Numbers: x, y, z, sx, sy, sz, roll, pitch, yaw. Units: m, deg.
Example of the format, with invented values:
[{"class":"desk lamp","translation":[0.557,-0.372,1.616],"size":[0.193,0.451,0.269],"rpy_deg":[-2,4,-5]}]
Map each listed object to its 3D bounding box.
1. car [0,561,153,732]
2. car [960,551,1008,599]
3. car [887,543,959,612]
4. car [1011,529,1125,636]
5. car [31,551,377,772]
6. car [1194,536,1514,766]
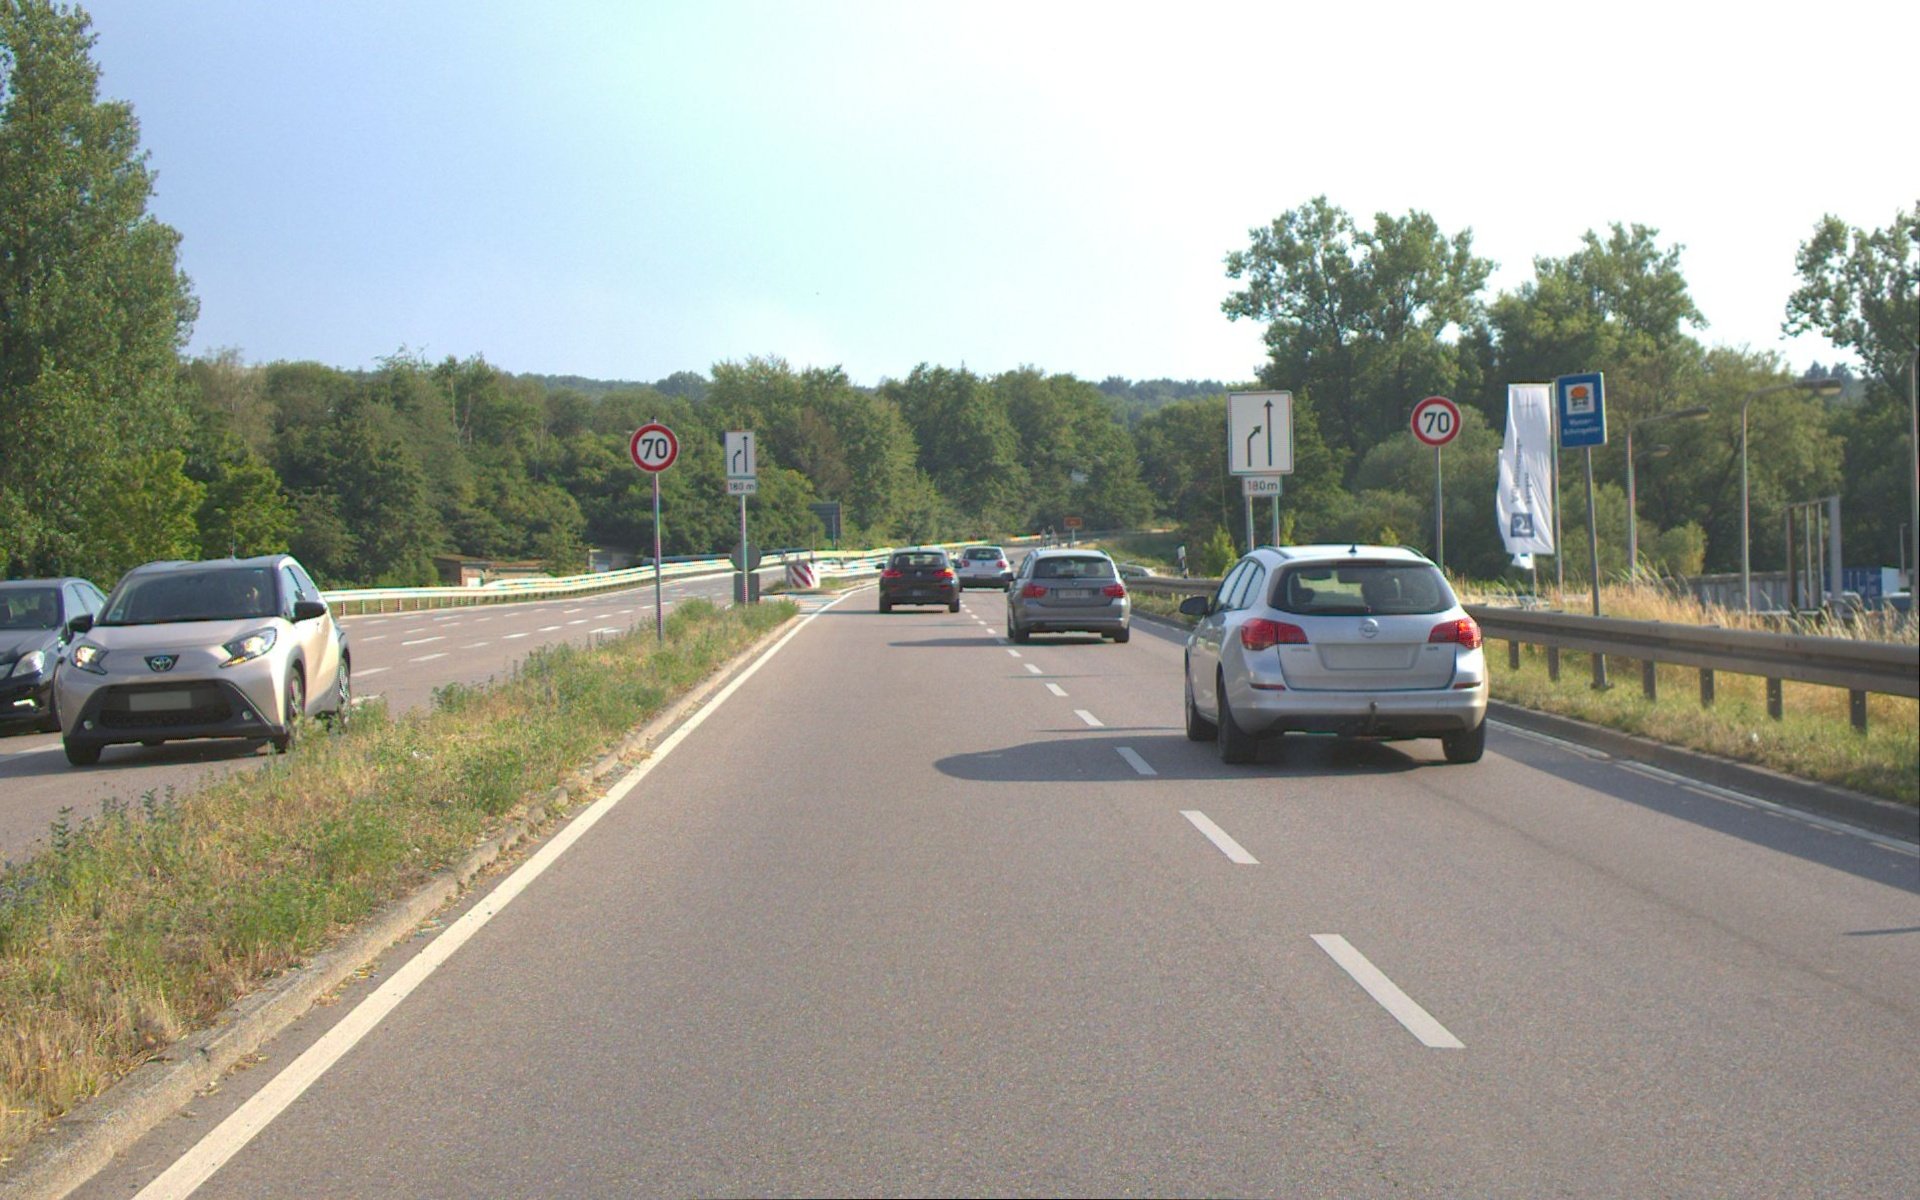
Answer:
[{"class":"car","translation":[-9.127,0.424,32.823],"size":[1.715,1.459,4.727],"rpy_deg":[-3,1,-1]},{"class":"car","translation":[0.768,-0.782,109.049],"size":[1.492,1.471,3.358],"rpy_deg":[0,0,1]},{"class":"car","translation":[-0.803,-0.484,76.200],"size":[1.492,1.471,3.358],"rpy_deg":[0,0,1]},{"class":"car","translation":[1.635,-0.256,52.915],"size":[1.667,1.568,4.000],"rpy_deg":[1,0,1]},{"class":"car","translation":[-5.809,0.446,26.869],"size":[1.780,1.515,4.000],"rpy_deg":[-3,0,0]},{"class":"car","translation":[2.691,0.331,24.310],"size":[1.809,1.481,4.000],"rpy_deg":[0,0,0]}]
